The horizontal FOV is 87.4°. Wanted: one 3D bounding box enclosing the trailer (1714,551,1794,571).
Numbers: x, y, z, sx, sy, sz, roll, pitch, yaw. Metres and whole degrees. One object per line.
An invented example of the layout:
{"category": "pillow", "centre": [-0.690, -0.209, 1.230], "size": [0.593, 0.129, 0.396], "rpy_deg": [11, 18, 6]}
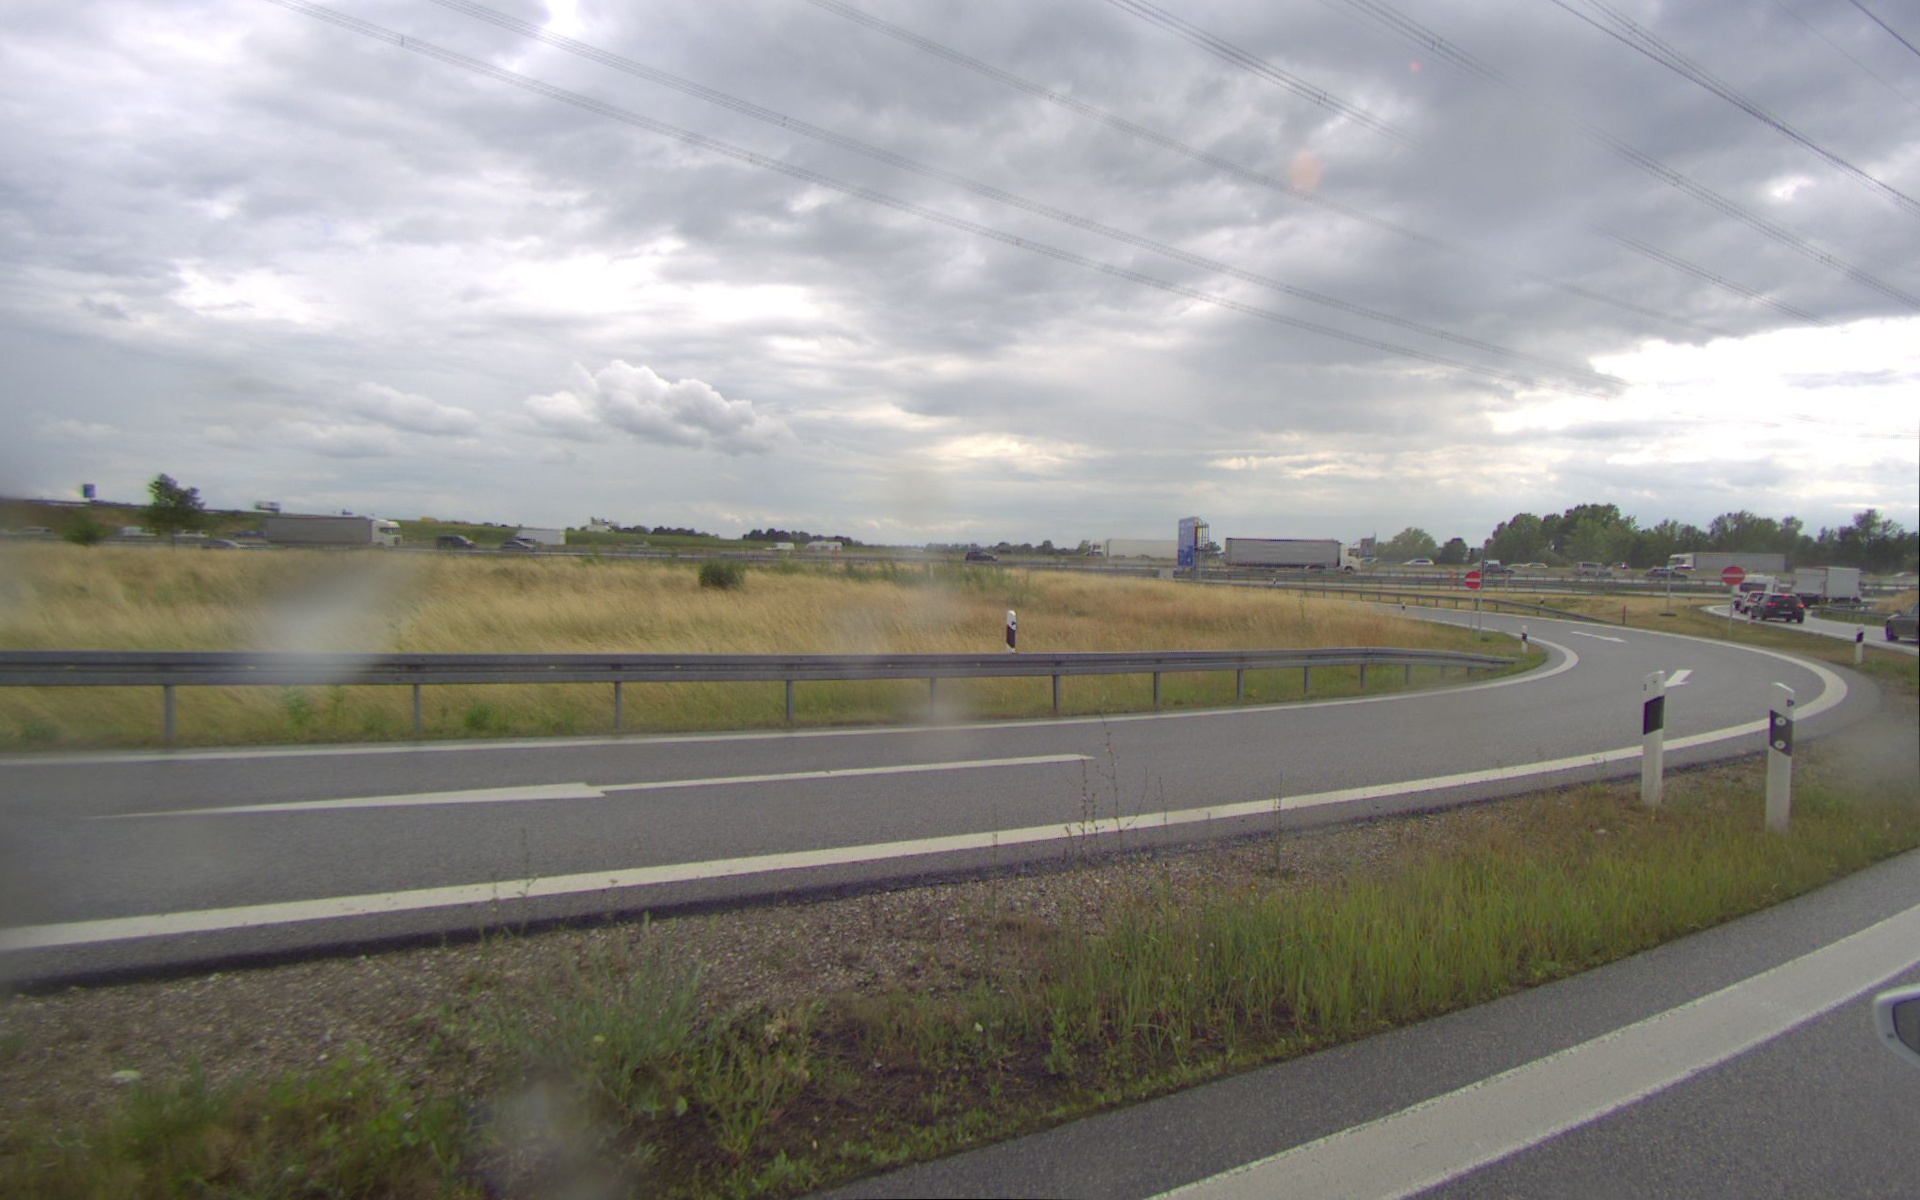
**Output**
{"category": "trailer", "centre": [123.298, -6.107, 156.011], "size": [10.275, 3.068, 2.319], "rpy_deg": [0, 3, 2]}

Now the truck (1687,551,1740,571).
{"category": "truck", "centre": [117.189, -6.079, 156.189], "size": [6.339, 3.068, 2.319], "rpy_deg": [0, 3, 2]}

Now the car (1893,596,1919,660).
{"category": "car", "centre": [34.291, 0.986, 34.744], "size": [2.093, 2.045, 5.515], "rpy_deg": [4, 4, 35]}

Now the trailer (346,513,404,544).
{"category": "trailer", "centre": [-75.328, -9.199, 129.370], "size": [5.780, 3.835, 2.848], "rpy_deg": [1, 3, 2]}

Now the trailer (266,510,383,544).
{"category": "trailer", "centre": [-81.969, -9.402, 129.591], "size": [13.387, 3.834, 2.859], "rpy_deg": [2, 3, 2]}

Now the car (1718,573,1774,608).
{"category": "car", "centre": [58.360, -0.777, 74.686], "size": [2.315, 2.338, 5.120], "rpy_deg": [1, 4, 27]}

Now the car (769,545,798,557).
{"category": "car", "centre": [-26.499, -7.364, 150.640], "size": [3.919, 1.874, 1.893], "rpy_deg": [0, 3, 5]}

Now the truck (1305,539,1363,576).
{"category": "truck", "centre": [46.925, -5.352, 126.141], "size": [6.142, 4.628, 3.351], "rpy_deg": [0, 3, 4]}

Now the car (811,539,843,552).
{"category": "car", "centre": [-21.420, -8.788, 161.881], "size": [4.660, 2.041, 2.000], "rpy_deg": [0, 3, 2]}

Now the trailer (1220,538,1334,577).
{"category": "trailer", "centre": [39.831, -5.377, 126.656], "size": [13.122, 4.680, 3.484], "rpy_deg": [0, 3, 4]}

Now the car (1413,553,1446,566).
{"category": "car", "centre": [68.259, -5.889, 146.131], "size": [3.919, 1.874, 1.893], "rpy_deg": [0, 3, 5]}

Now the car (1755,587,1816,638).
{"category": "car", "centre": [43.984, 0.592, 53.512], "size": [2.323, 2.338, 5.102], "rpy_deg": [2, 4, 40]}

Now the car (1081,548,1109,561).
{"category": "car", "centre": [19.739, -6.697, 147.097], "size": [3.919, 1.874, 1.893], "rpy_deg": [0, 3, 5]}

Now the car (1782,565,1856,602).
{"category": "car", "centre": [76.630, -1.540, 89.564], "size": [7.132, 2.992, 3.116], "rpy_deg": [-3, 4, -34]}

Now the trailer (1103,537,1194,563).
{"category": "trailer", "centre": [30.002, -7.944, 159.997], "size": [13.820, 3.721, 2.859], "rpy_deg": [2, 3, 2]}

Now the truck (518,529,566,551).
{"category": "truck", "centre": [-67.933, -9.810, 163.369], "size": [6.966, 3.518, 2.000], "rpy_deg": [0, 3, 3]}

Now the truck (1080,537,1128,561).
{"category": "truck", "centre": [22.974, -8.133, 160.269], "size": [7.232, 3.589, 2.825], "rpy_deg": [1, 3, 2]}
